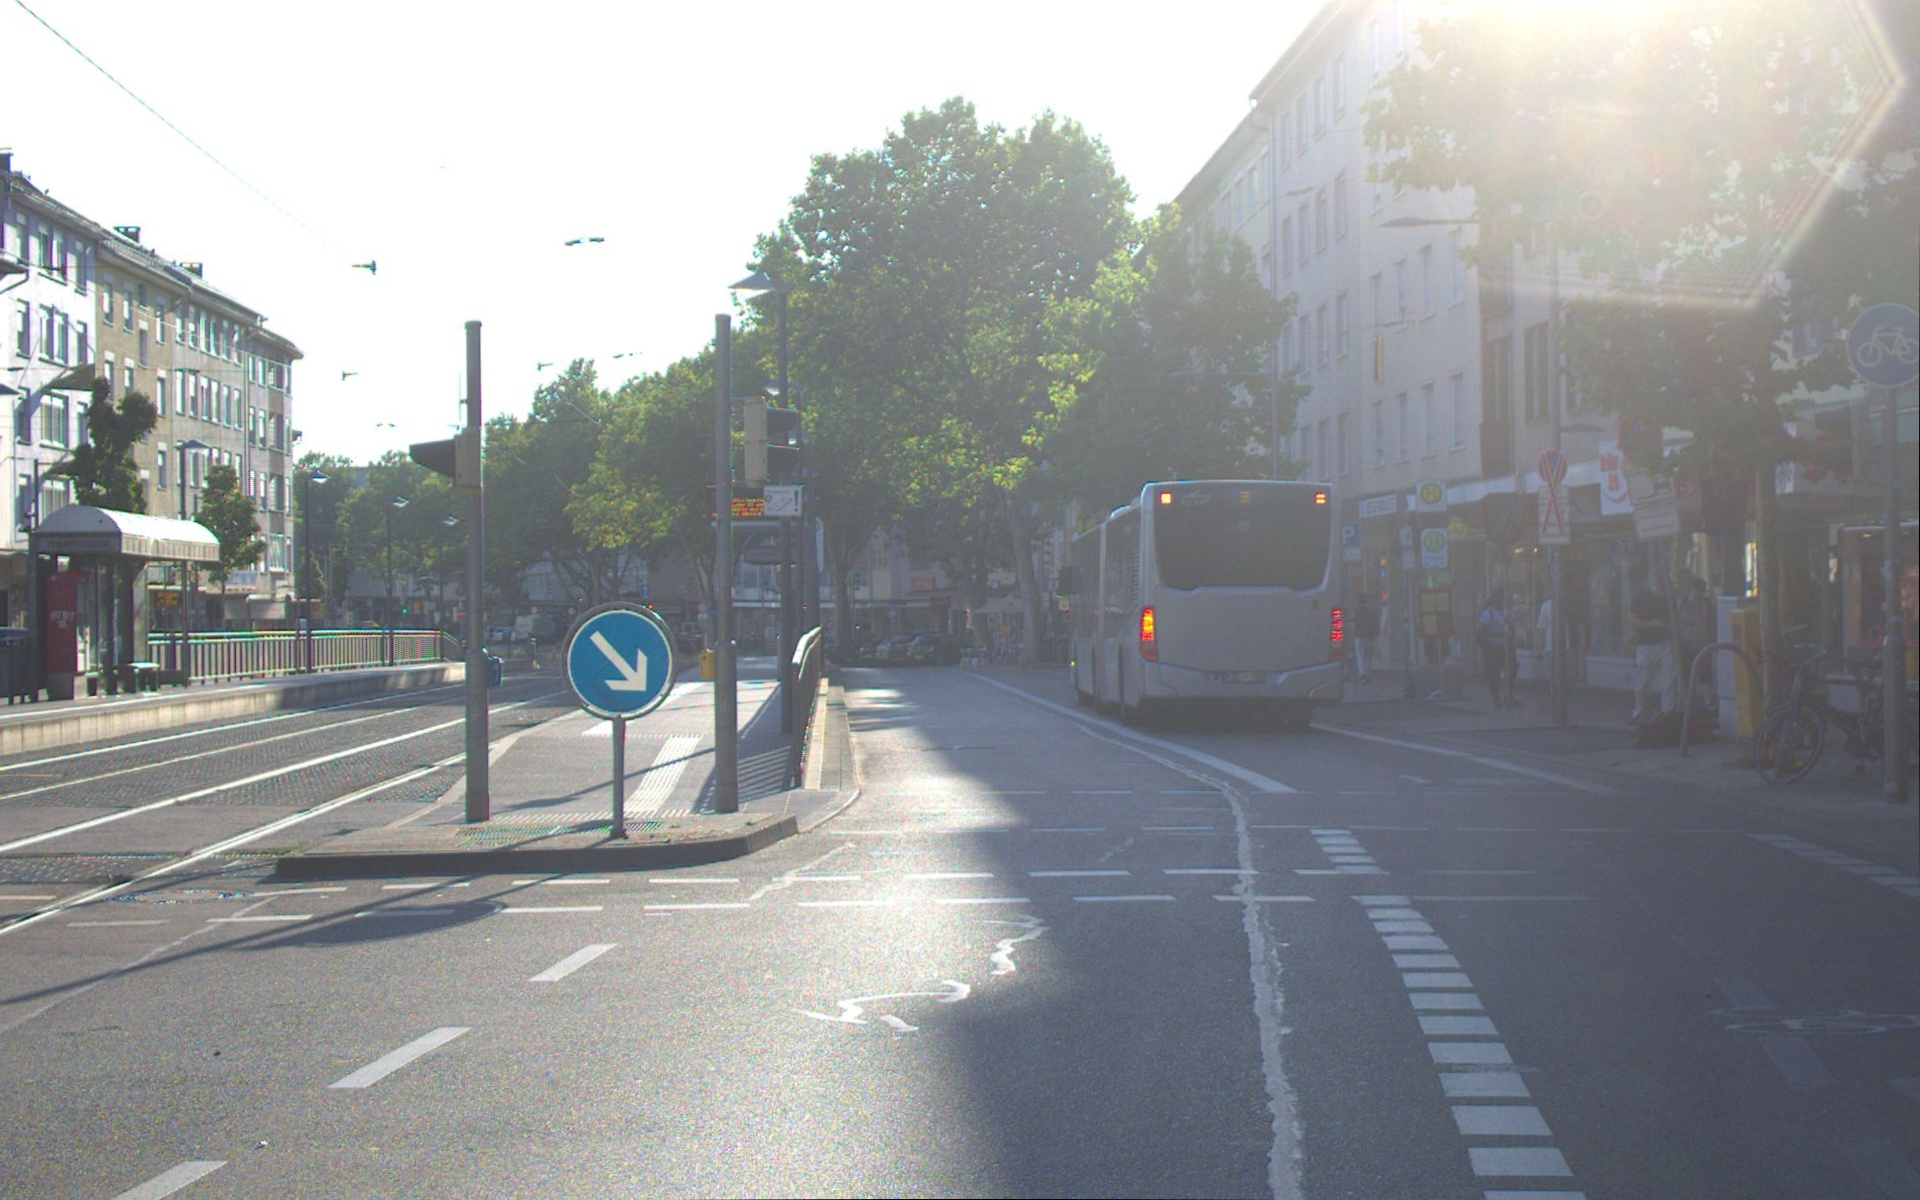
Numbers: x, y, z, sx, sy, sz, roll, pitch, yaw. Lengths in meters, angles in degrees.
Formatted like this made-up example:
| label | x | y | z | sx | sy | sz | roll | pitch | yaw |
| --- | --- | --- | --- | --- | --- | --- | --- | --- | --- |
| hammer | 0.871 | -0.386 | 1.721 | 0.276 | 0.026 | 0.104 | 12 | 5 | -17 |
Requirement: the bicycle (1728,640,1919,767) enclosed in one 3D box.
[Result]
| label | x | y | z | sx | sy | sz | roll | pitch | yaw |
| --- | --- | --- | --- | --- | --- | --- | --- | --- | --- |
| bicycle | 7.074 | 0.839 | 28.086 | 1.482 | 1.005 | 0.454 | -1 | 0 | -5 |

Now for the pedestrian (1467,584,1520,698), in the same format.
| label | x | y | z | sx | sy | sz | roll | pitch | yaw |
| --- | --- | --- | --- | --- | --- | --- | --- | --- | --- |
| pedestrian | 7.500 | 0.570 | 48.355 | 0.610 | 1.573 | 0.851 | -1 | 0 | 0 |

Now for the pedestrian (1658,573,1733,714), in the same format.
| label | x | y | z | sx | sy | sz | roll | pitch | yaw |
| --- | --- | --- | --- | --- | --- | --- | --- | --- | --- |
| pedestrian | 9.088 | 0.532 | 42.510 | 0.723 | 1.717 | 0.766 | -1 | -1 | -2 |

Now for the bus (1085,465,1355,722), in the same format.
| label | x | y | z | sx | sy | sz | roll | pitch | yaw |
| --- | --- | --- | --- | --- | --- | --- | --- | --- | --- |
| bus | 3.326 | -0.064 | 46.373 | 2.696 | 3.108 | 9.381 | 0 | 0 | -1 |

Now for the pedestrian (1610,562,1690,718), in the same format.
| label | x | y | z | sx | sy | sz | roll | pitch | yaw |
| --- | --- | --- | --- | --- | --- | --- | --- | --- | --- |
| pedestrian | 8.045 | 0.466 | 40.100 | 0.723 | 1.800 | 0.766 | -1 | -1 | -2 |

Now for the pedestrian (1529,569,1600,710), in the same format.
| label | x | y | z | sx | sy | sz | roll | pitch | yaw |
| --- | --- | --- | --- | --- | --- | --- | --- | --- | --- |
| pedestrian | 7.697 | 0.500 | 43.784 | 0.723 | 1.773 | 0.766 | -1 | -1 | -2 |

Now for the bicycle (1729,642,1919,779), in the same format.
| label | x | y | z | sx | sy | sz | roll | pitch | yaw |
| --- | --- | --- | --- | --- | --- | --- | --- | --- | --- |
| bicycle | 7.128 | 0.874 | 27.470 | 1.798 | 1.005 | 0.541 | -3 | 0 | -5 |

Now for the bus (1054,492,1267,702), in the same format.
| label | x | y | z | sx | sy | sz | roll | pitch | yaw |
| --- | --- | --- | --- | --- | --- | --- | --- | --- | --- |
| bus | 3.103 | -0.029 | 55.615 | 2.696 | 3.108 | 9.070 | 0 | 0 | -1 |

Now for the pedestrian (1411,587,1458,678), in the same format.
| label | x | y | z | sx | sy | sz | roll | pitch | yaw |
| --- | --- | --- | --- | --- | --- | --- | --- | --- | --- |
| pedestrian | 8.623 | 0.582 | 62.473 | 0.723 | 1.627 | 0.766 | -1 | 0 | -2 |

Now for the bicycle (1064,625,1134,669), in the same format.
| label | x | y | z | sx | sy | sz | roll | pitch | yaw |
| --- | --- | --- | --- | --- | --- | --- | --- | --- | --- |
| bicycle | 3.935 | 1.335 | 97.182 | 1.887 | 1.073 | 0.754 | -5 | 0 | 1 |

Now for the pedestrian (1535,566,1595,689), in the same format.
| label | x | y | z | sx | sy | sz | roll | pitch | yaw |
| --- | --- | --- | --- | --- | --- | --- | --- | --- | --- |
| pedestrian | 9.116 | 0.420 | 51.811 | 0.723 | 1.834 | 0.766 | -1 | -1 | -2 |
